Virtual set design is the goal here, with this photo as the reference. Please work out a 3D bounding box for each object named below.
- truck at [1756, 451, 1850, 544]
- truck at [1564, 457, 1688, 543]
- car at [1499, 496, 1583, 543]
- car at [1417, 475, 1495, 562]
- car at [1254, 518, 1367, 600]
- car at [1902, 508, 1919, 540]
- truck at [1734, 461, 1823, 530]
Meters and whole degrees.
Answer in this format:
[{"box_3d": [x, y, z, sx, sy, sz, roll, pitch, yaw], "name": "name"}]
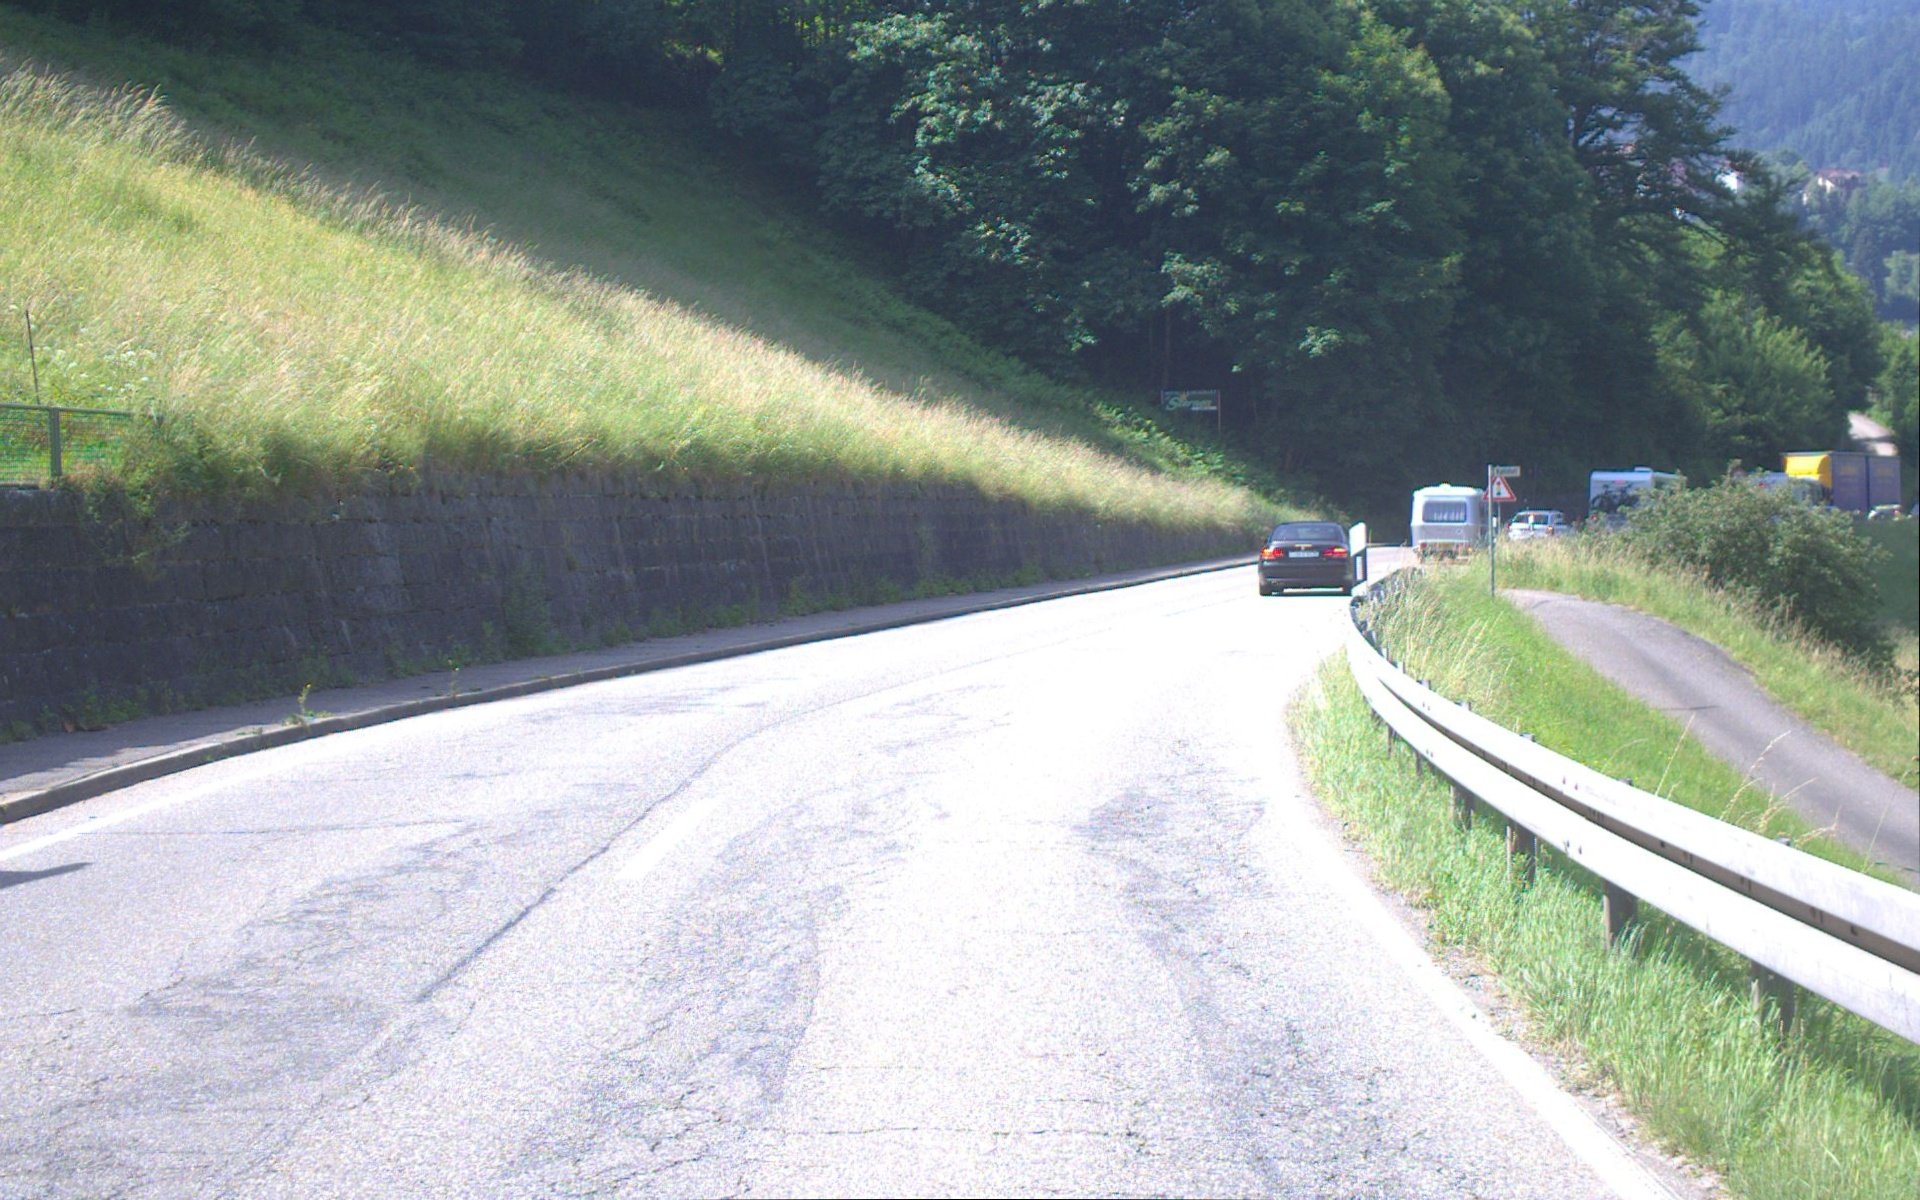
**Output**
[{"box_3d": [41.387, -5.081, 168.660, 3.193, 4.381, 6.563, 2, 3, 25], "name": "truck"}, {"box_3d": [24.794, -3.752, 127.733, 2.795, 2.987, 6.859, 3, 4, 25], "name": "truck"}, {"box_3d": [19.541, -2.720, 115.588, 1.996, 1.479, 3.996, 3, 3, 21], "name": "car"}, {"box_3d": [14.468, -2.404, 100.156, 1.994, 2.344, 4.912, 1, 3, 11], "name": "car"}, {"box_3d": [6.498, -0.785, 63.475, 1.772, 1.331, 3.766, 1, 3, 11], "name": "car"}, {"box_3d": [47.530, -3.700, 167.959, 1.910, 1.481, 3.994, 4, 4, 30], "name": "car"}, {"box_3d": [35.237, -4.483, 147.865, 2.241, 2.794, 6.223, 2, 1, 27], "name": "truck"}]
